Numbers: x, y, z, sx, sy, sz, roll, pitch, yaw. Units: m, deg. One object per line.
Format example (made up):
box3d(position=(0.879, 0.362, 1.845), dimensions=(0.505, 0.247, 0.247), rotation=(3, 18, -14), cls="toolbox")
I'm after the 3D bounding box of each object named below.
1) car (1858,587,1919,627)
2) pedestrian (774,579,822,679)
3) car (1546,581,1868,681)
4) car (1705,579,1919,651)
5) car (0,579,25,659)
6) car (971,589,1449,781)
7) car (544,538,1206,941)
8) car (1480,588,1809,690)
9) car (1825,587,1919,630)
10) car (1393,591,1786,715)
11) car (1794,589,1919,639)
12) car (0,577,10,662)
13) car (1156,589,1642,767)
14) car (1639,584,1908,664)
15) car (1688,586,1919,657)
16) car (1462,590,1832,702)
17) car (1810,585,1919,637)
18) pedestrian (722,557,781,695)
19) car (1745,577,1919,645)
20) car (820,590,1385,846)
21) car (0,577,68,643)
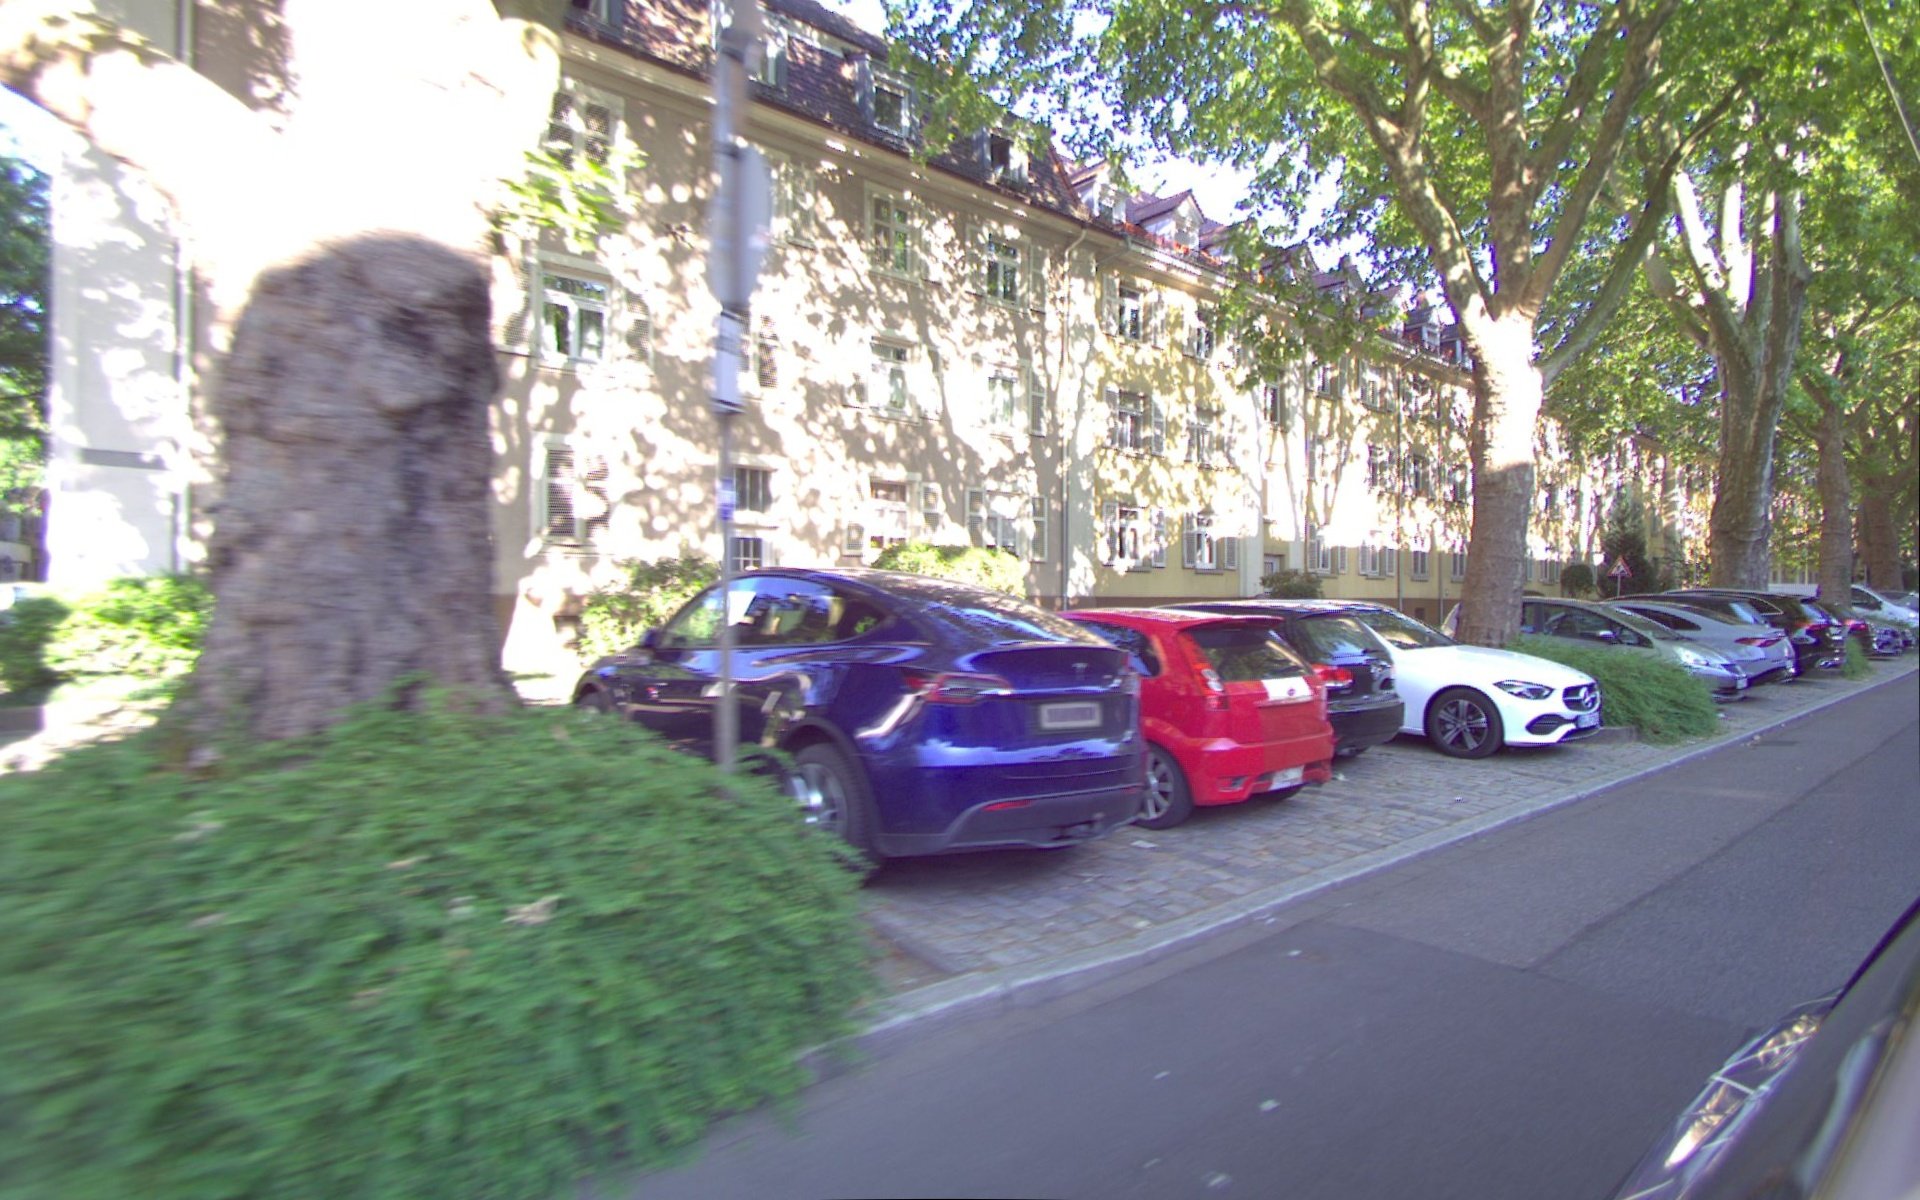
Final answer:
box3d(position=(43.205, 0.336, 45.015), dimensions=(1.858, 1.737, 4.613), rotation=(1, 0, -37), cls="car")
box3d(position=(-2.534, 0.442, 15.897), dimensions=(0.630, 1.548, 0.620), rotation=(0, 0, 4), cls="pedestrian")
box3d(position=(14.044, 0.500, 19.293), dimensions=(1.858, 1.661, 4.613), rotation=(1, 0, -37), cls="car")
box3d(position=(23.666, 0.364, 27.995), dimensions=(1.858, 1.814, 4.613), rotation=(1, 0, -37), cls="car")
box3d(position=(-20.859, 0.374, 19.474), dimensions=(3.921, 1.555, 1.731), rotation=(0, 0, -31), cls="car")
box3d(position=(2.235, 0.649, 10.204), dimensions=(1.858, 1.462, 4.510), rotation=(1, 0, -37), cls="car")
box3d(position=(-0.953, 0.542, 6.595), dimensions=(1.859, 1.652, 4.808), rotation=(1, 0, -40), cls="car")
box3d(position=(12.253, 0.601, 18.420), dimensions=(1.858, 1.586, 4.613), rotation=(1, 0, -37), cls="car")
box3d(position=(39.464, 0.340, 42.388), dimensions=(1.858, 1.737, 4.613), rotation=(1, 0, -37), cls="car")
box3d(position=(9.117, 0.653, 15.052), dimensions=(1.858, 1.513, 4.613), rotation=(1, 0, -37), cls="car")
box3d(position=(32.433, 0.462, 35.491), dimensions=(1.858, 1.661, 4.613), rotation=(1, 0, -37), cls="car")
box3d(position=(-19.531, 0.374, 17.726), dimensions=(3.921, 1.602, 1.731), rotation=(0, 0, -31), cls="car")
box3d(position=(4.545, 0.662, 11.169), dimensions=(1.858, 1.513, 4.613), rotation=(1, 0, -37), cls="car")
box3d(position=(18.888, 0.488, 23.694), dimensions=(1.858, 1.661, 4.613), rotation=(1, 0, -37), cls="car")
box3d(position=(21.921, 0.499, 26.241), dimensions=(1.858, 1.661, 4.613), rotation=(1, 0, -37), cls="car")
box3d(position=(10.903, 0.626, 16.397), dimensions=(1.858, 1.513, 4.613), rotation=(1, 0, -37), cls="car")
box3d(position=(34.217, 0.403, 36.941), dimensions=(1.858, 1.814, 4.613), rotation=(1, 0, -37), cls="car")
box3d(position=(-2.748, 0.334, 13.389), dimensions=(0.630, 1.790, 0.620), rotation=(0, 0, 4), cls="pedestrian")
box3d(position=(28.108, 0.313, 32.211), dimensions=(1.858, 2.039, 4.638), rotation=(1, 0, -37), cls="car")
box3d(position=(0.884, 0.688, 8.204), dimensions=(1.860, 1.462, 4.362), rotation=(1, 0, -42), cls="car")
box3d(position=(-24.738, 0.244, 24.912), dimensions=(3.921, 1.602, 1.731), rotation=(0, 0, -31), cls="car")
